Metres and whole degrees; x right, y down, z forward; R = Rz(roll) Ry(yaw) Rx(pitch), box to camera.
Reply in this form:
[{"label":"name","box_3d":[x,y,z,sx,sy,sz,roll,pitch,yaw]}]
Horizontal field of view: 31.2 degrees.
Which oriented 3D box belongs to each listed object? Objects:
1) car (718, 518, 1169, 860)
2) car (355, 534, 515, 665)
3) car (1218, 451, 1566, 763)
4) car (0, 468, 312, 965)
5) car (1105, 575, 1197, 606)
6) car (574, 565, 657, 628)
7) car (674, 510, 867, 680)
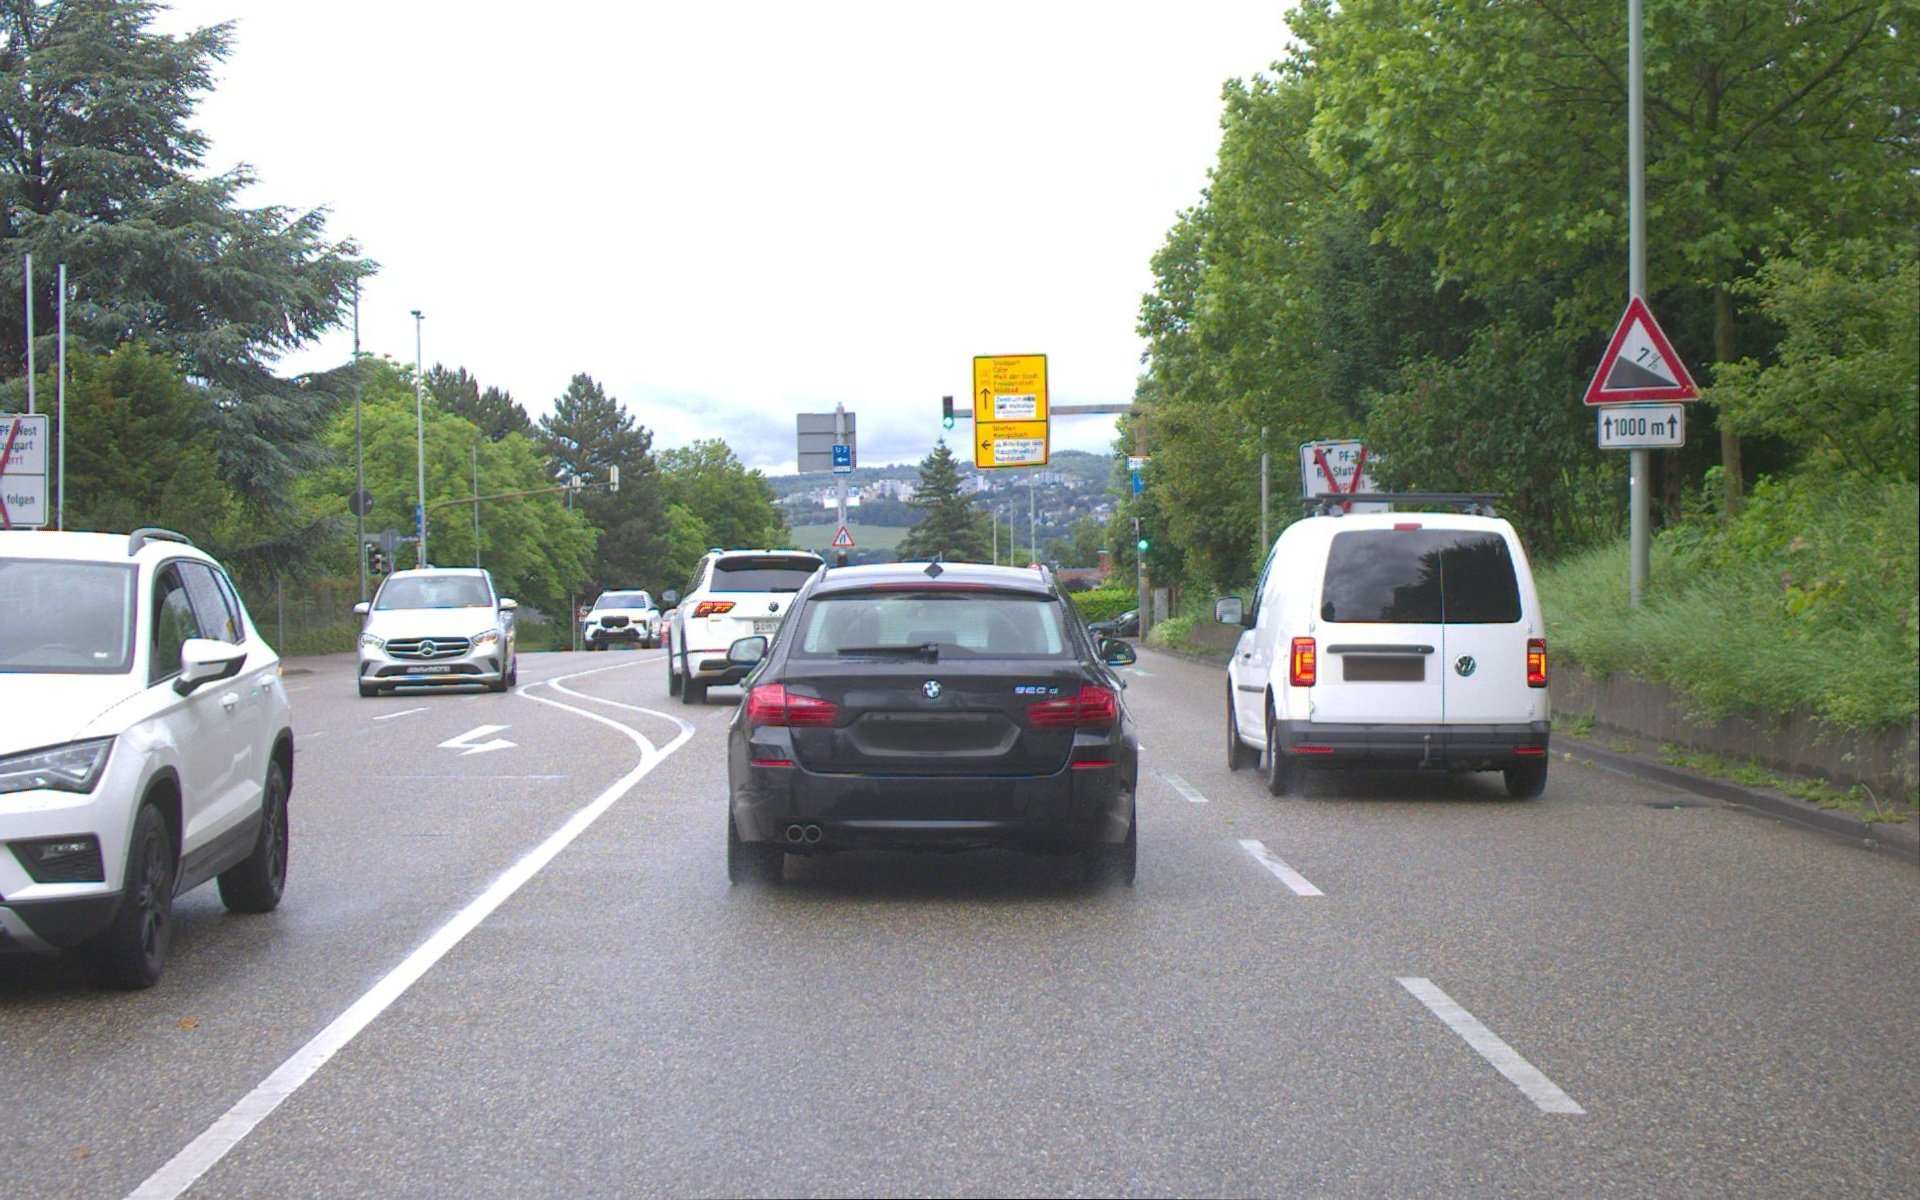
[{"label":"car","box_3d":[-0.062,0.350,16.478,1.899,1.436,4.000,0,1,0]},{"label":"car","box_3d":[-6.490,-0.033,42.838,1.749,1.503,4.303,-1,1,-6]},{"label":"car","box_3d":[2.760,-0.041,22.757,1.764,1.871,3.806,0,3,-1]},{"label":"car","box_3d":[-3.691,0.342,13.017,1.787,1.575,4.240,-1,1,-2]},{"label":"car","box_3d":[8.341,-0.424,150.185,3.987,1.372,1.585,0,0,4]},{"label":"car","box_3d":[-10.504,-0.129,105.106,1.917,1.757,5.143,-3,1,0]},{"label":"car","box_3d":[-2.016,-0.104,37.630,1.868,1.667,4.001,0,3,0]}]
